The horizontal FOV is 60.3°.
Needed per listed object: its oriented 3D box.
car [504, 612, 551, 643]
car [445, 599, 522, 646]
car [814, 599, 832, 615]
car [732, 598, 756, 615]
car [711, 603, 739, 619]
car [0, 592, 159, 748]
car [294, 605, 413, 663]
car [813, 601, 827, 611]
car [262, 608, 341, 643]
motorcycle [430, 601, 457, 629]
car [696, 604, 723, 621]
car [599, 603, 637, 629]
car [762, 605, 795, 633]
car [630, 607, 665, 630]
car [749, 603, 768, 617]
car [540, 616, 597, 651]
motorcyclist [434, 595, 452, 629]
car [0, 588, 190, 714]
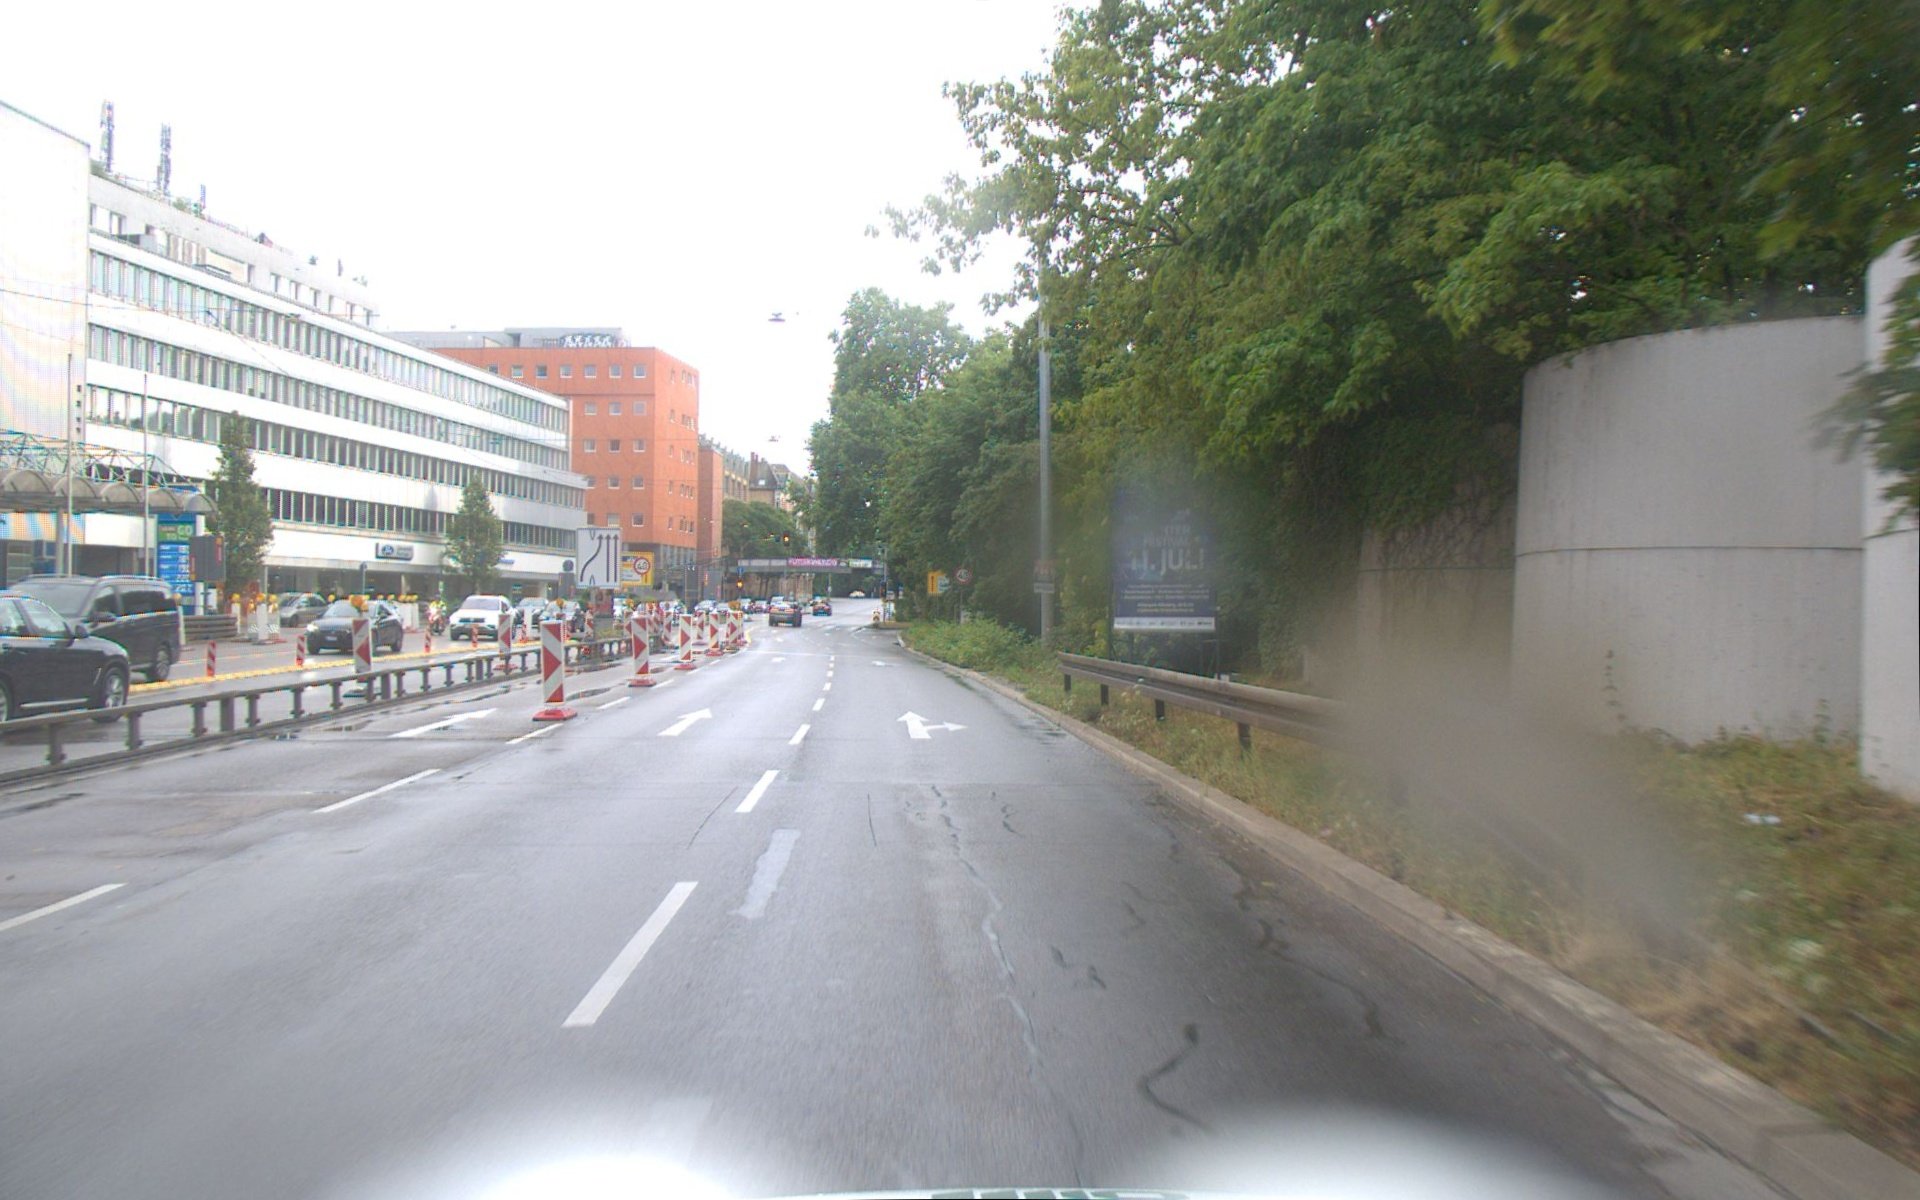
[{"bbox_3d":[-22.720,1.413,86.958,1.676,1.563,4.074,-1,0,-4],"label":"car"},{"bbox_3d":[-18.176,0.830,63.313,1.900,1.719,4.576,0,0,-4],"label":"car"},{"bbox_3d":[-14.845,0.753,179.087,1.728,1.726,3.704,-1,0,-2],"label":"car"},{"bbox_3d":[-23.183,0.729,177.722,1.807,1.768,4.605,0,0,2],"label":"car"},{"bbox_3d":[-20.439,0.938,143.938,1.653,1.378,4.116,-1,0,2],"label":"car"},{"bbox_3d":[-11.622,0.781,19.540,1.907,1.625,4.671,3,1,1],"label":"car"},{"bbox_3d":[-16.825,0.914,46.144,1.814,1.492,4.704,-1,0,-3],"label":"car"},{"bbox_3d":[-21.395,0.921,252.800,1.953,1.545,3.999,1,0,-1],"label":"car"},{"bbox_3d":[-34.884,1.317,87.768,1.809,1.810,4.733,-1,0,7],"label":"car"},{"bbox_3d":[-21.238,0.627,68.009,0.567,1.121,2.026,-1,0,-3],"label":"motorcycle"},{"bbox_3d":[-23.505,1.182,155.236,1.770,1.586,4.302,0,0,2],"label":"car"},{"bbox_3d":[-23.383,1.058,113.240,1.941,1.737,4.827,0,0,-4],"label":"car"},{"bbox_3d":[-12.926,1.339,117.924,2.079,1.765,4.195,3,1,-4],"label":"car"},{"bbox_3d":[-20.074,1.155,106.412,1.701,1.428,4.285,1,0,-4],"label":"car"},{"bbox_3d":[-23.131,1.147,189.992,1.792,1.528,4.372,-1,0,-1],"label":"car"},{"bbox_3d":[-18.561,1.564,78.513,1.920,1.548,4.296,0,0,-4],"label":"car"},{"bbox_3d":[-21.234,0.489,67.872,0.576,1.387,0.561,-1,0,-4],"label":"motorcyclist"},{"bbox_3d":[-15.473,0.830,28.706,1.954,1.970,5.228,-1,0,-3],"label":"car"}]
